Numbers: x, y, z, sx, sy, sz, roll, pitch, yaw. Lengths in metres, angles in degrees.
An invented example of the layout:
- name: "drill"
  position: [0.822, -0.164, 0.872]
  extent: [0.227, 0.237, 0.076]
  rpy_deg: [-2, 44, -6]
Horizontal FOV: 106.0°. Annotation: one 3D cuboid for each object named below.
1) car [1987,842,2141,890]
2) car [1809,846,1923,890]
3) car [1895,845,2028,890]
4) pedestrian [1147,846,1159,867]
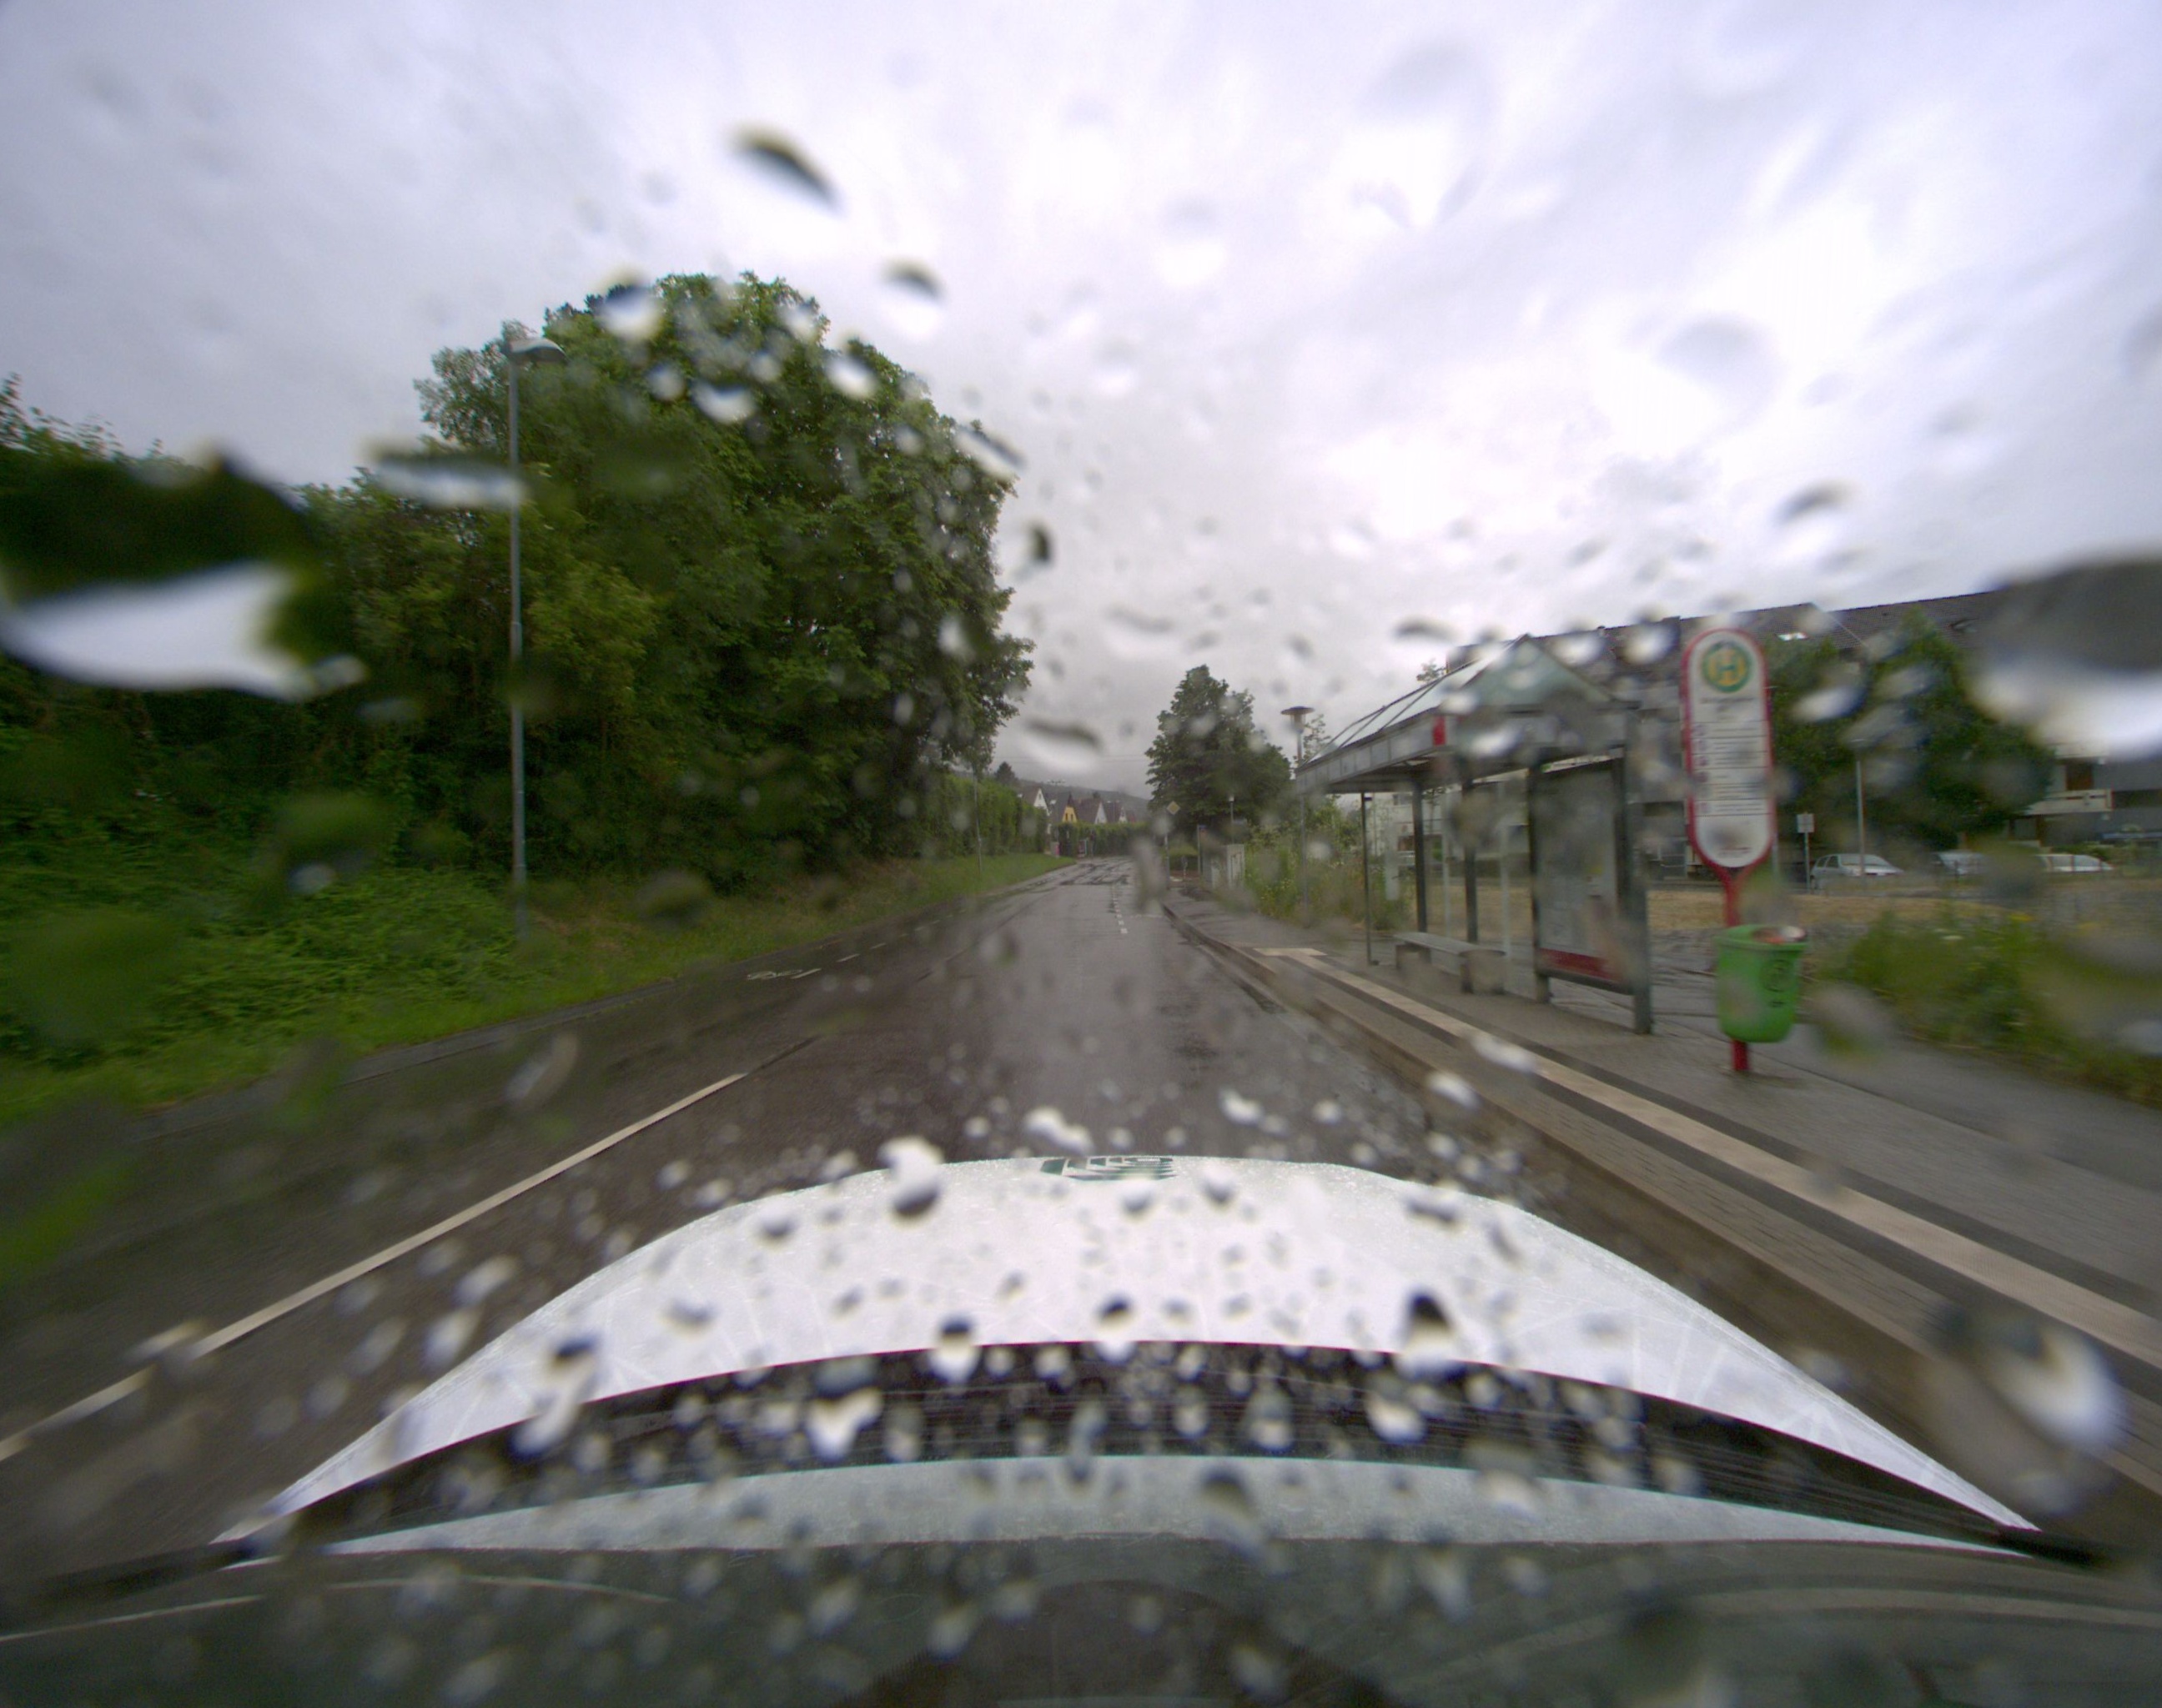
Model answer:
- name: "car"
  position: [32.647, 0.456, 27.203]
  extent: [1.701, 1.441, 3.726]
  rpy_deg: [-1, -3, 23]
- name: "car"
  position: [28.233, 0.568, 29.442]
  extent: [1.701, 1.441, 3.726]
  rpy_deg: [-1, -3, 23]
- name: "car"
  position: [30.392, 0.530, 28.266]
  extent: [1.701, 1.441, 3.726]
  rpy_deg: [-1, -3, 23]
- name: "pedestrian"
  position: [6.134, 0.188, 69.063]
  extent: [0.915, 1.675, 1.059]
  rpy_deg: [-3, 0, 5]
